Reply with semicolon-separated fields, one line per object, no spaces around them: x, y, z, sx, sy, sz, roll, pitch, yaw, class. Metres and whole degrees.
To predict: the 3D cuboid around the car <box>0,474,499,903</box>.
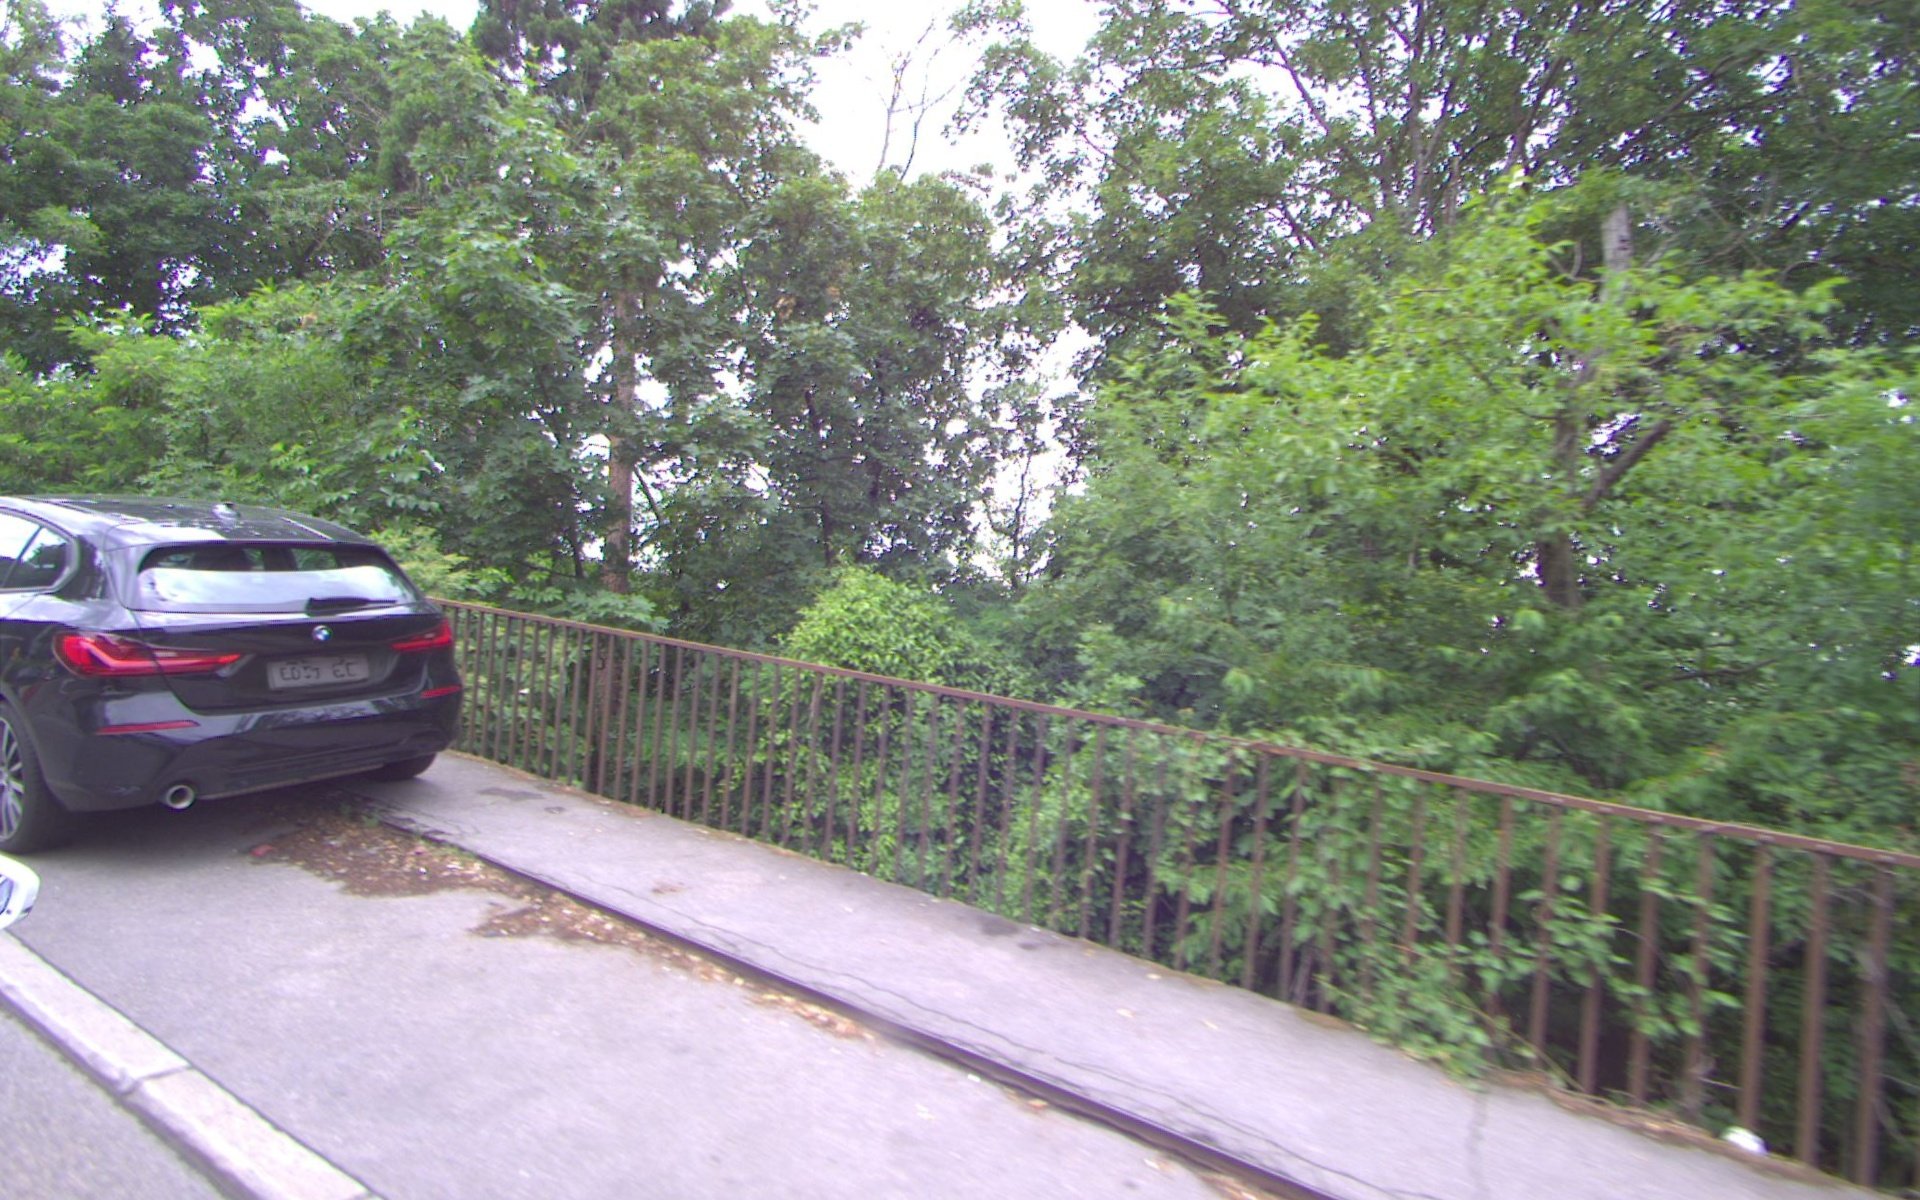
-4.657;0.143;5.430;4.121;1.484;1.807;7;5;28;car
